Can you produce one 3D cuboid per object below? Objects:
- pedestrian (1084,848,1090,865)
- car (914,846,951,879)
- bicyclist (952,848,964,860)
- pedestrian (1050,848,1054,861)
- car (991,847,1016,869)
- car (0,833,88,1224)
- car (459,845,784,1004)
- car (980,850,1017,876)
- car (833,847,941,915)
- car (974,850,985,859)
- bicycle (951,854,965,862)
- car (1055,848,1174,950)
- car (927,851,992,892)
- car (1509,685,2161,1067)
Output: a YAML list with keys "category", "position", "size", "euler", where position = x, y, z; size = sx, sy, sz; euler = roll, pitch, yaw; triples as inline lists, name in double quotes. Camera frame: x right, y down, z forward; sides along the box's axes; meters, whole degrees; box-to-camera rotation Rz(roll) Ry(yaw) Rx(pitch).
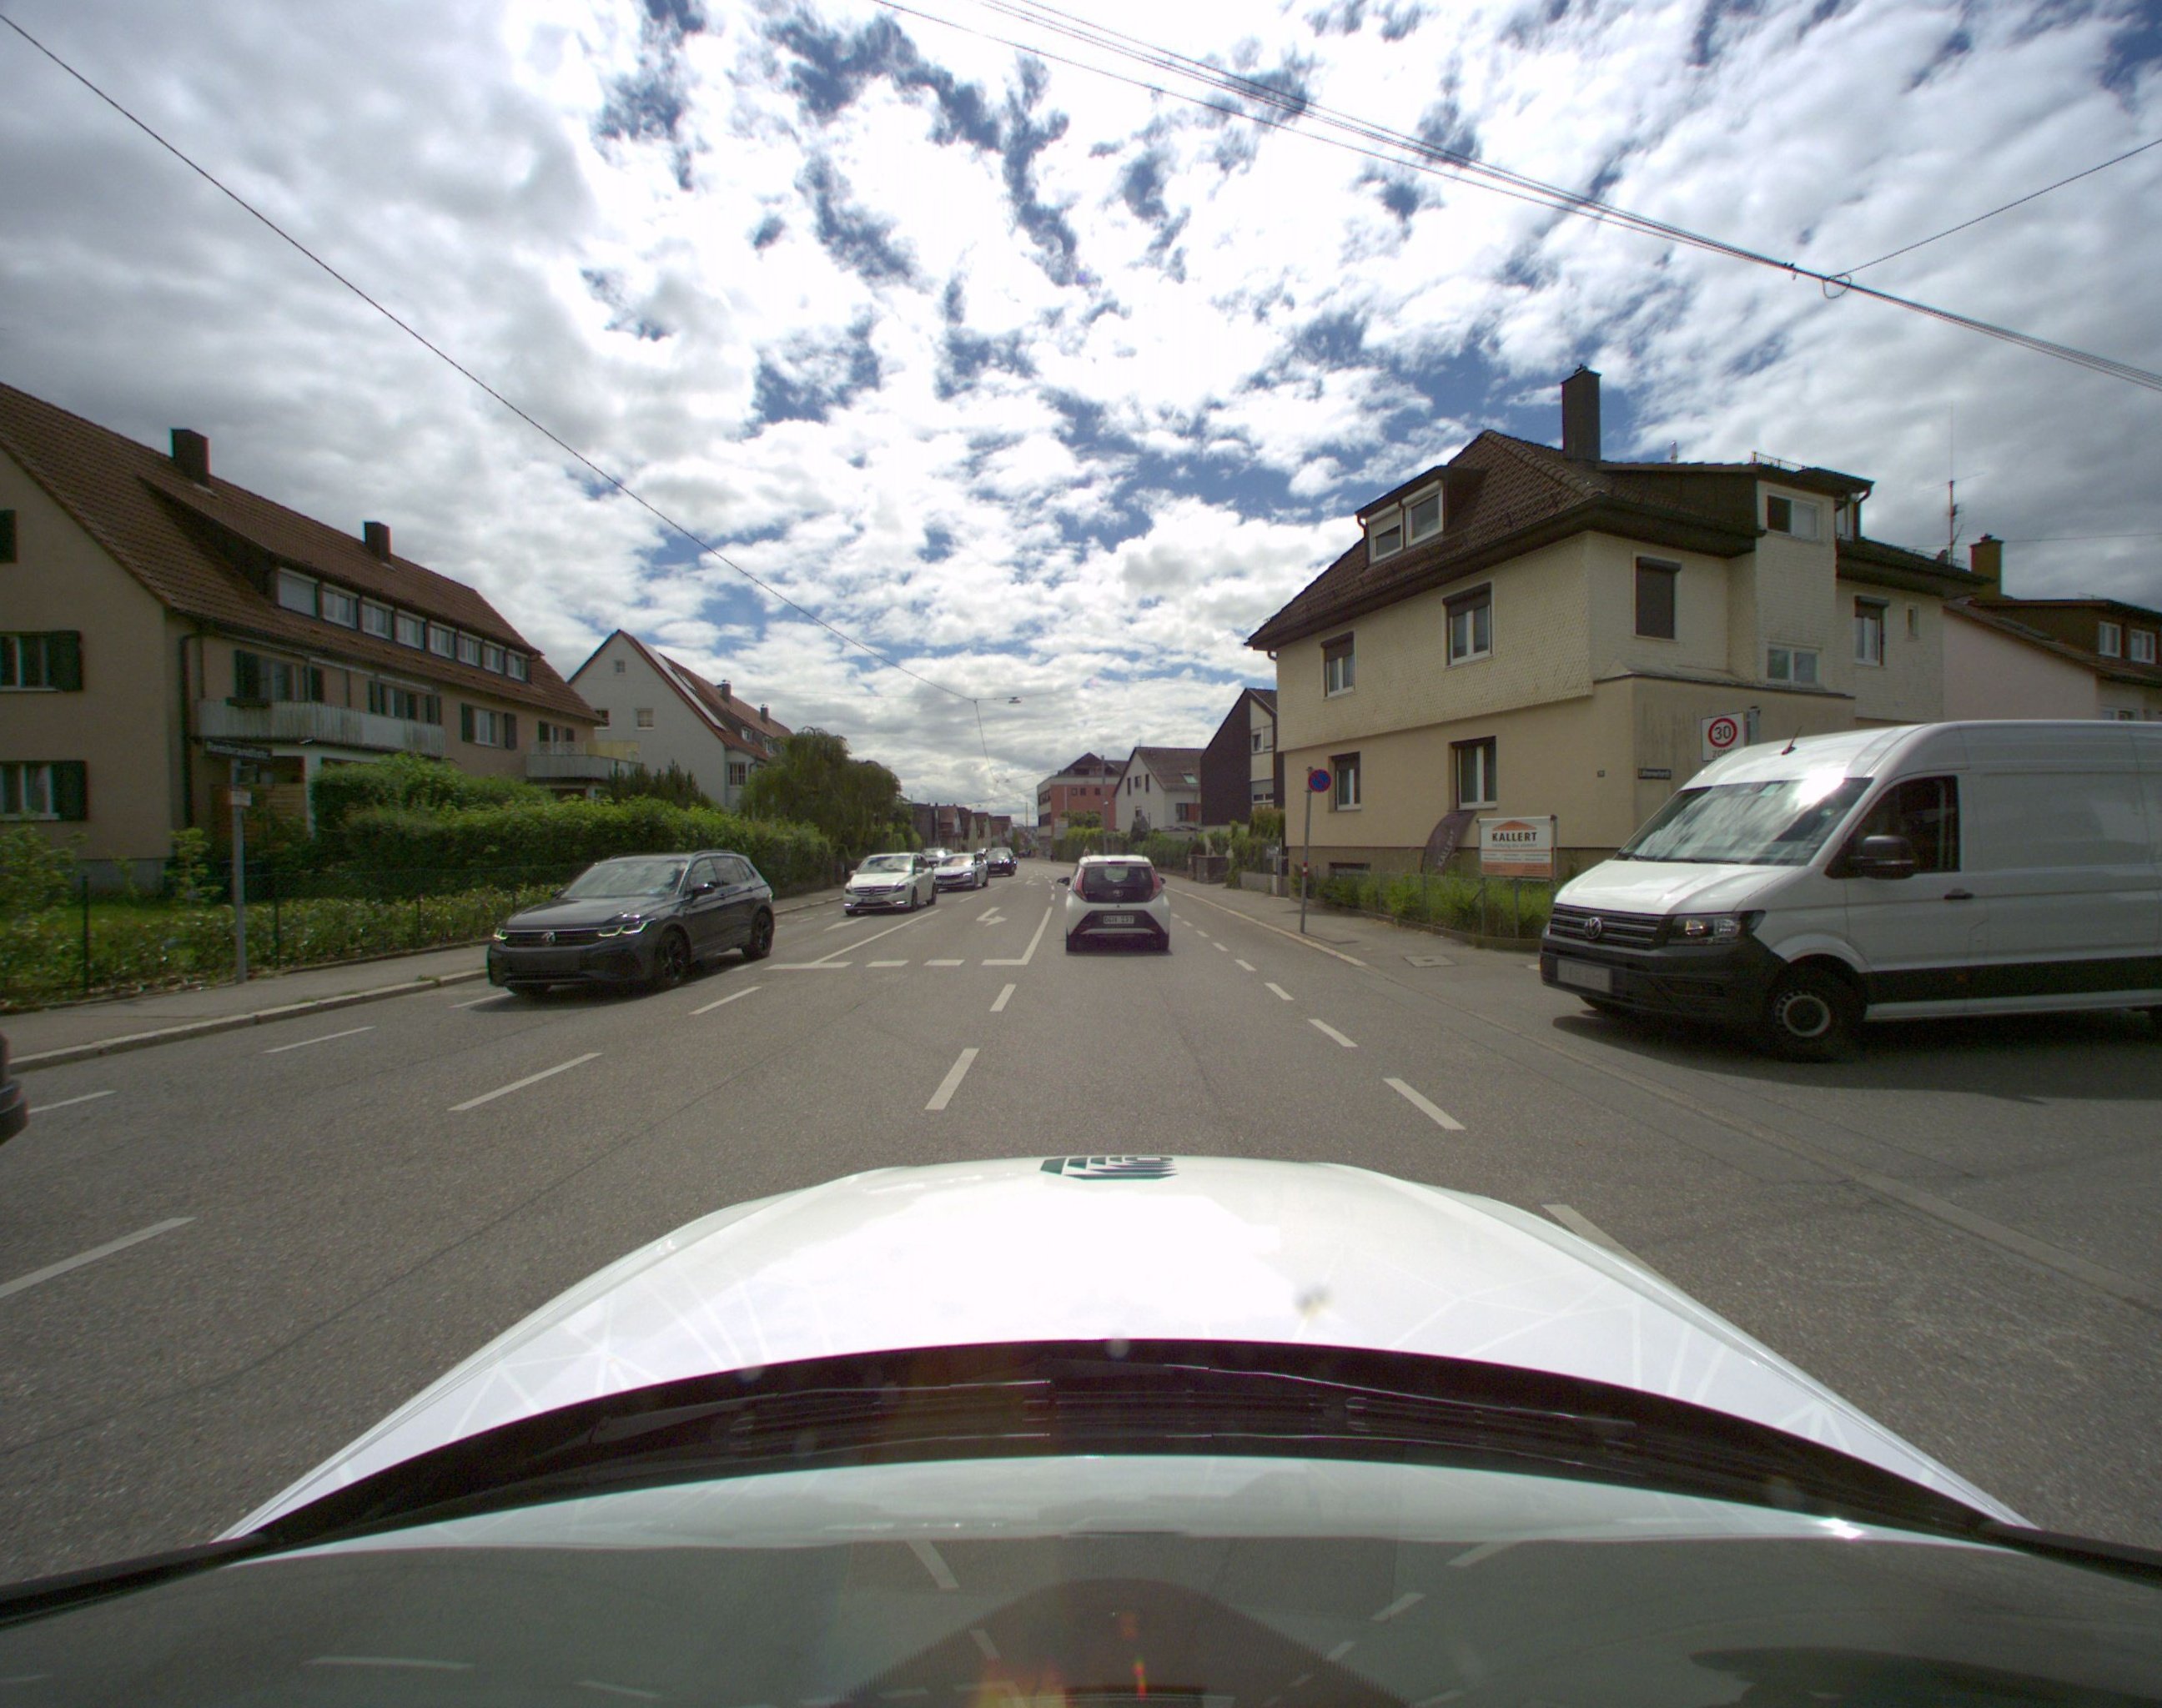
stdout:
- category: "pedestrian"
  position: [0.528, 0.203, 71.079]
  size: [0.413, 1.437, 0.436]
  euler: [0, 0, -12]
- category: "car"
  position: [-8.964, 0.477, 49.362]
  size: [1.773, 1.846, 4.000]
  euler: [-3, 0, -6]
- category: "bicyclist"
  position: [-14.940, -0.037, 98.647]
  size: [1.117, 1.336, 1.623]
  euler: [-3, 0, -17]
- category: "pedestrian"
  position: [-3.219, 0.063, 90.116]
  size: [0.413, 1.437, 0.436]
  euler: [0, 0, -7]
- category: "car"
  position: [-5.988, 0.336, 63.069]
  size: [1.773, 1.552, 4.000]
  euler: [-3, 0, -6]
- category: "car"
  position: [-5.381, 0.739, 1.620]
  size: [1.769, 1.603, 4.039]
  euler: [-3, -1, 1]
- category: "car"
  position: [-5.636, 0.741, 10.718]
  size: [1.769, 1.603, 4.170]
  euler: [-3, 0, 1]
- category: "car"
  position: [-4.745, 0.509, 47.328]
  size: [1.769, 1.430, 4.008]
  euler: [-1, 0, 0]
- category: "car"
  position: [-5.130, 0.660, 22.144]
  size: [1.769, 1.561, 4.170]
  euler: [-3, 0, 1]
- category: "car"
  position: [-19.857, 0.107, 159.320]
  size: [1.991, 1.684, 3.991]
  euler: [1, 0, -6]
- category: "bicycle"
  position: [-14.910, 0.481, 98.600]
  size: [1.117, 0.937, 3.766]
  euler: [-3, 0, -17]
- category: "car"
  position: [0.441, 0.651, 14.090]
  size: [1.618, 1.486, 3.994]
  euler: [0, 1, -4]
- category: "car"
  position: [-4.830, 0.669, 32.900]
  size: [1.769, 1.430, 4.523]
  euler: [-3, 0, 1]
- category: "car"
  position: [7.035, 0.101, 6.970]
  size: [5.994, 2.581, 1.994]
  euler: [-1, 1, -9]
